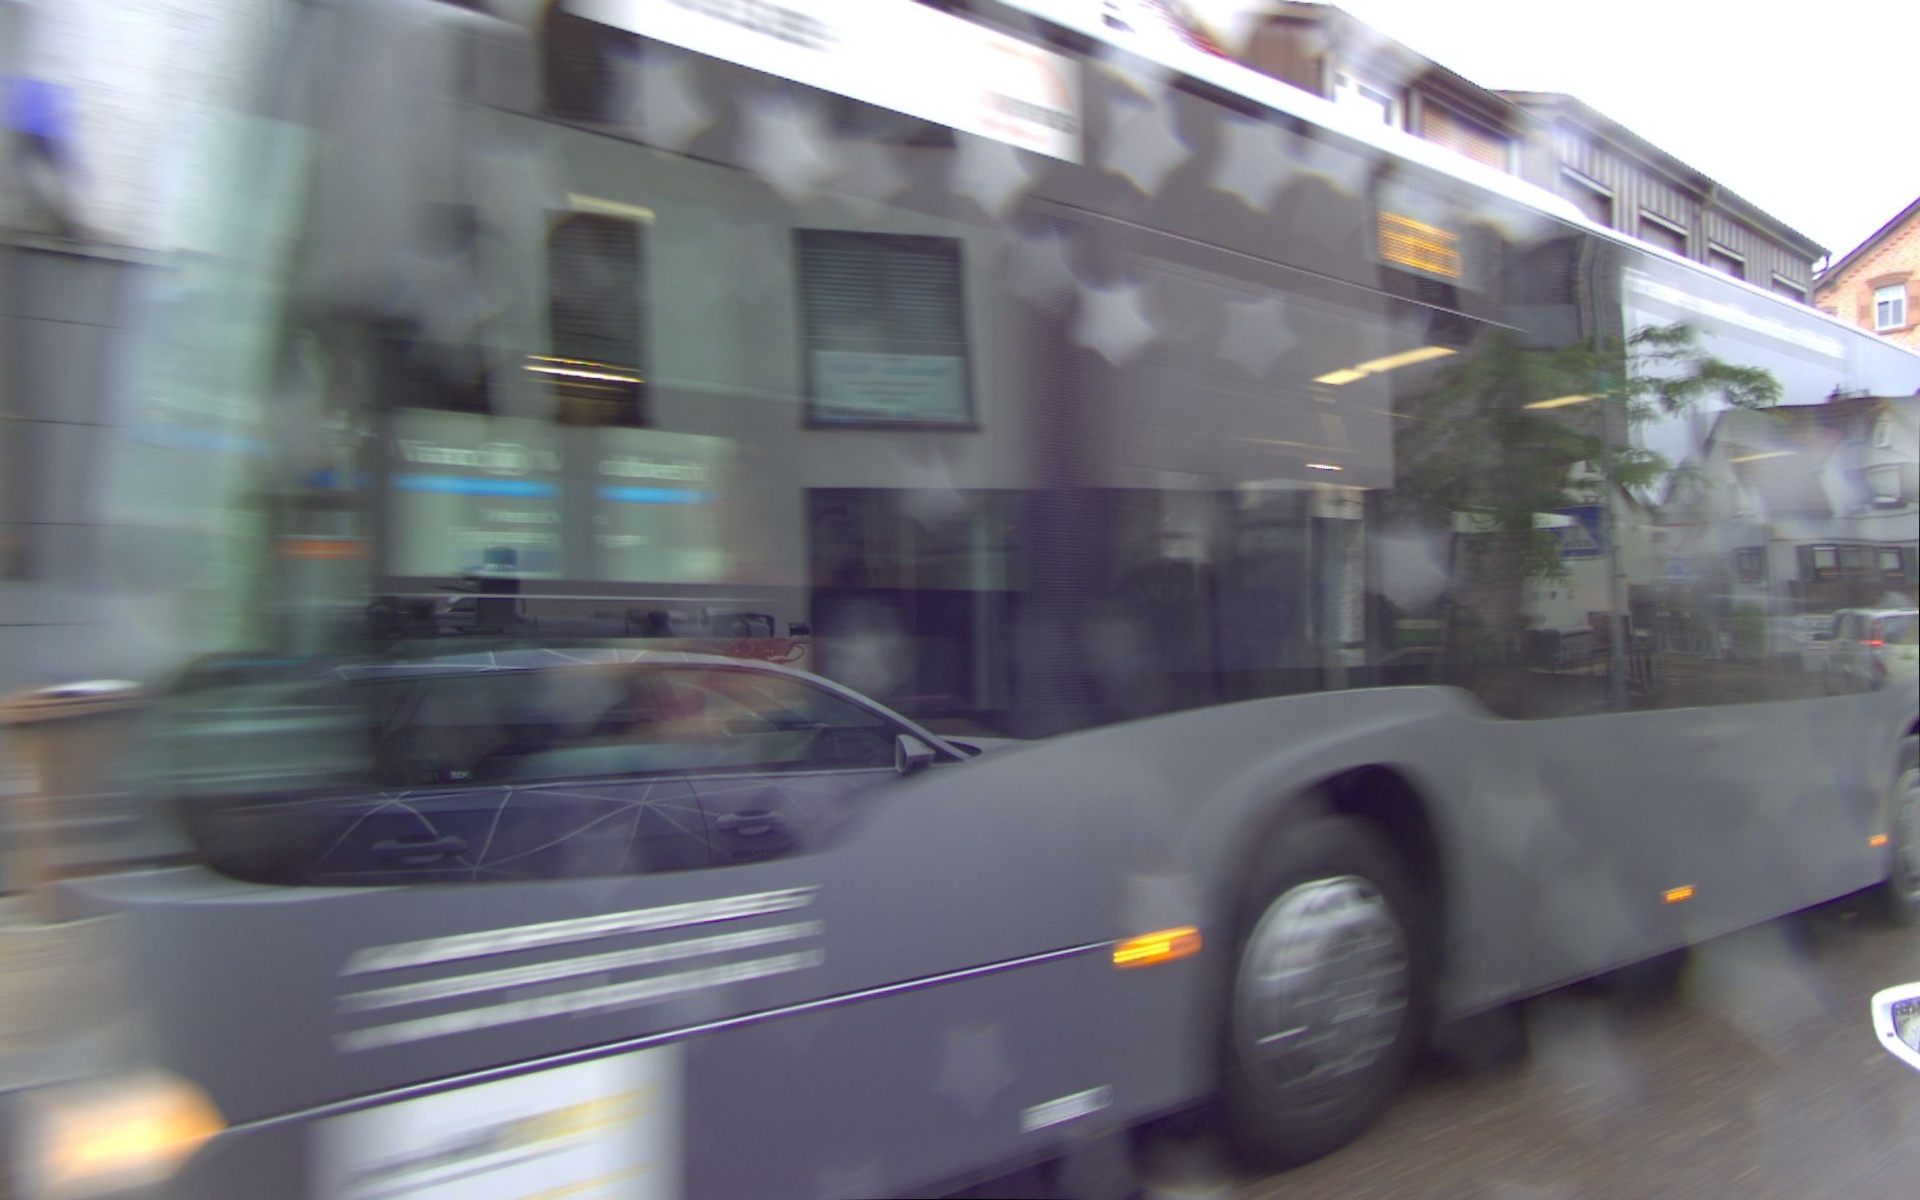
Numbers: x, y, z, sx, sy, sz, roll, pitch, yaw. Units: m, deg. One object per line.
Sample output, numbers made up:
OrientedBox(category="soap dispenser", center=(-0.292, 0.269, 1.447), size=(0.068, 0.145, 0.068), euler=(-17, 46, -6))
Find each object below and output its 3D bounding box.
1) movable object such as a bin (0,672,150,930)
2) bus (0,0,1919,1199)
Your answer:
OrientedBox(category="movable object such as a bin", center=(-4.345, 0.907, 4.767), size=(0.694, 1.073, 0.788), euler=(1, 0, -34))
OrientedBox(category="bus", center=(2.470, 0.046, 4.909), size=(10.818, 3.121, 2.710), euler=(1, 0, -31))
